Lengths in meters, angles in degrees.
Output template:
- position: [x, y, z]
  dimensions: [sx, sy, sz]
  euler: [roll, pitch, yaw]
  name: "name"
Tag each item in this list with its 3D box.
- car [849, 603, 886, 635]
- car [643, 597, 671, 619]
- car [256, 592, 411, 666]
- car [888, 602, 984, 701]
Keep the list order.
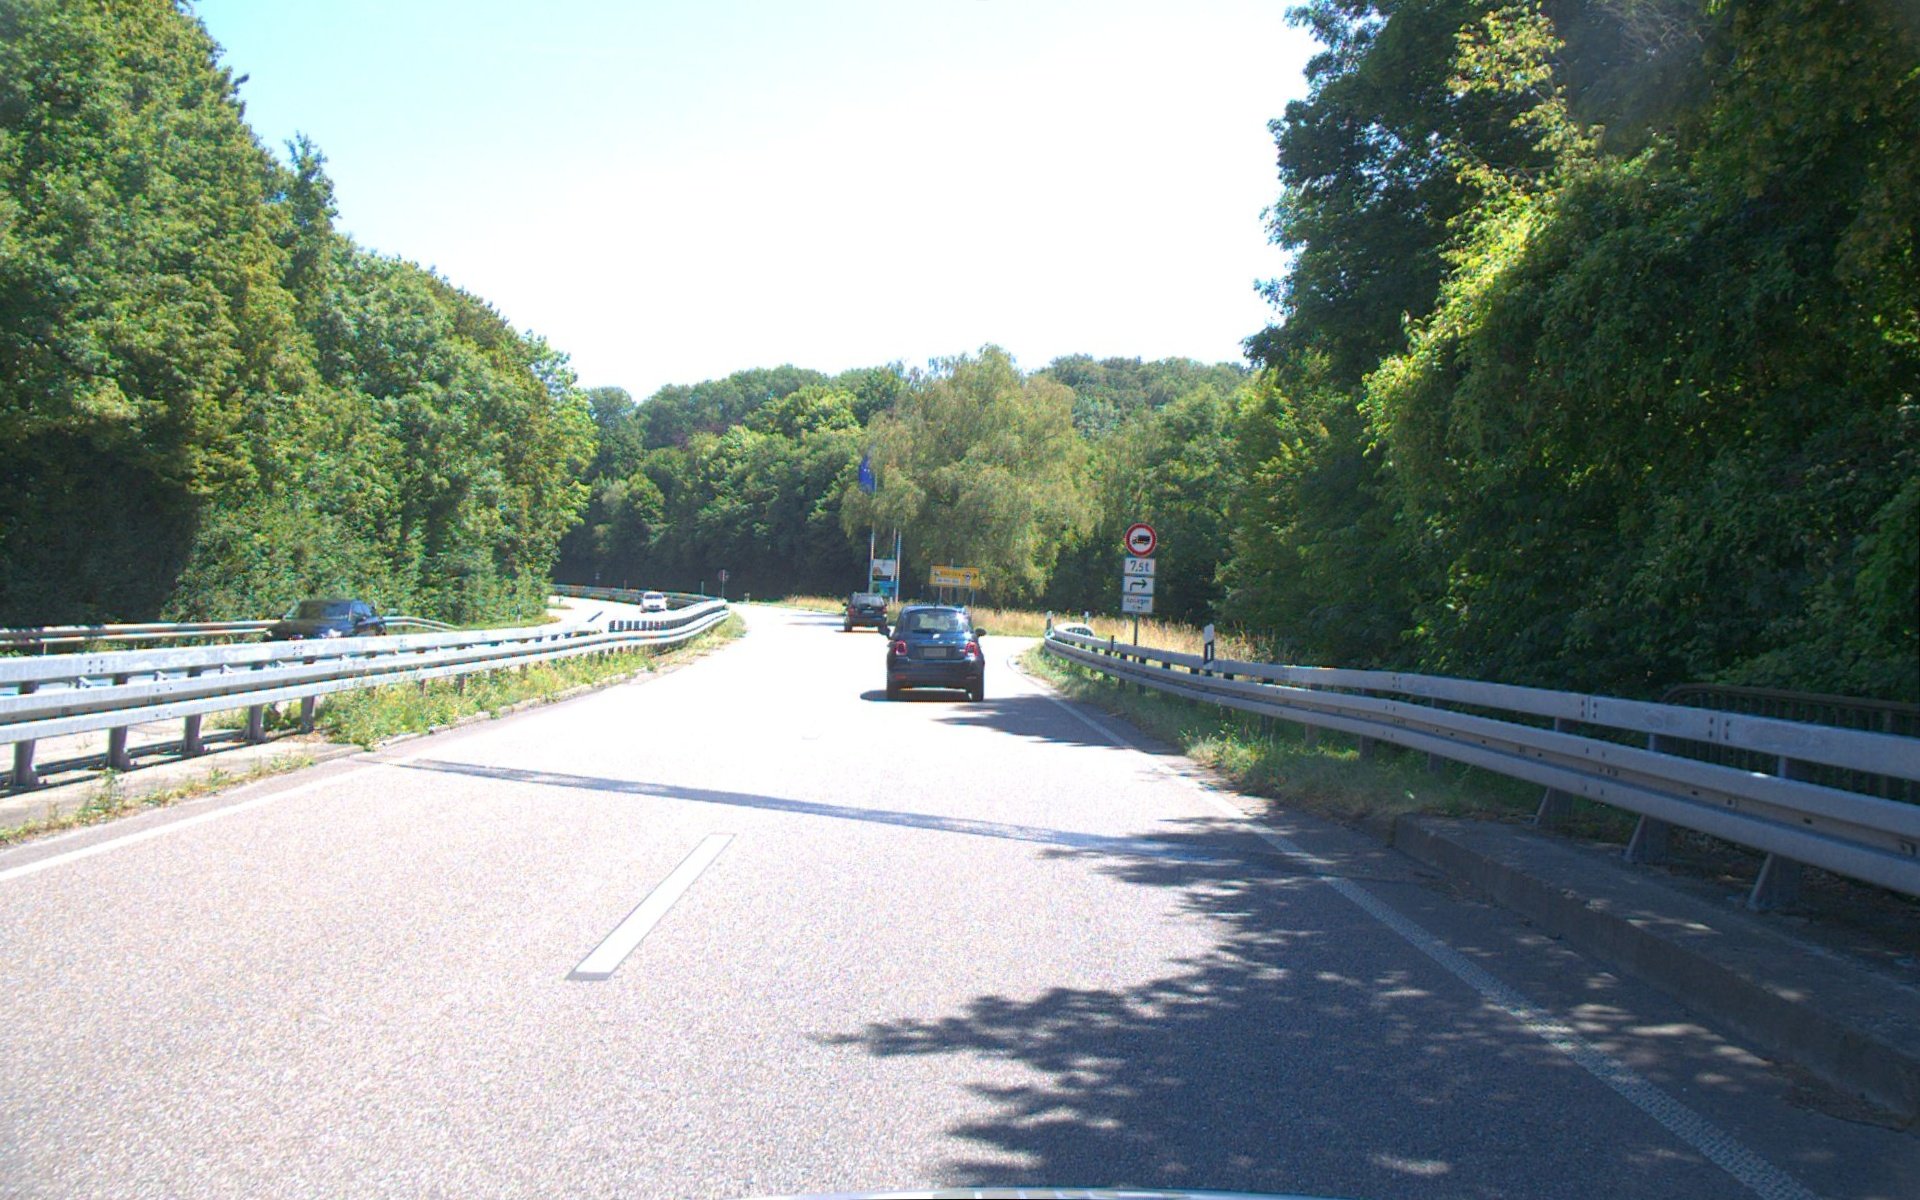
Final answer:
- position: [-4.099, 0.818, 72.850]
  dimensions: [1.495, 1.336, 3.411]
  euler: [0, 0, -5]
  name: "car"
- position: [-22.407, 0.588, 122.292]
  dimensions: [1.722, 1.600, 4.407]
  euler: [0, 0, -7]
  name: "car"
- position: [-14.111, 0.613, 37.528]
  dimensions: [1.720, 1.555, 4.684]
  euler: [0, 0, 0]
  name: "car"
- position: [-0.415, 0.806, 27.666]
  dimensions: [1.483, 1.527, 3.589]
  euler: [0, 0, -1]
  name: "car"
